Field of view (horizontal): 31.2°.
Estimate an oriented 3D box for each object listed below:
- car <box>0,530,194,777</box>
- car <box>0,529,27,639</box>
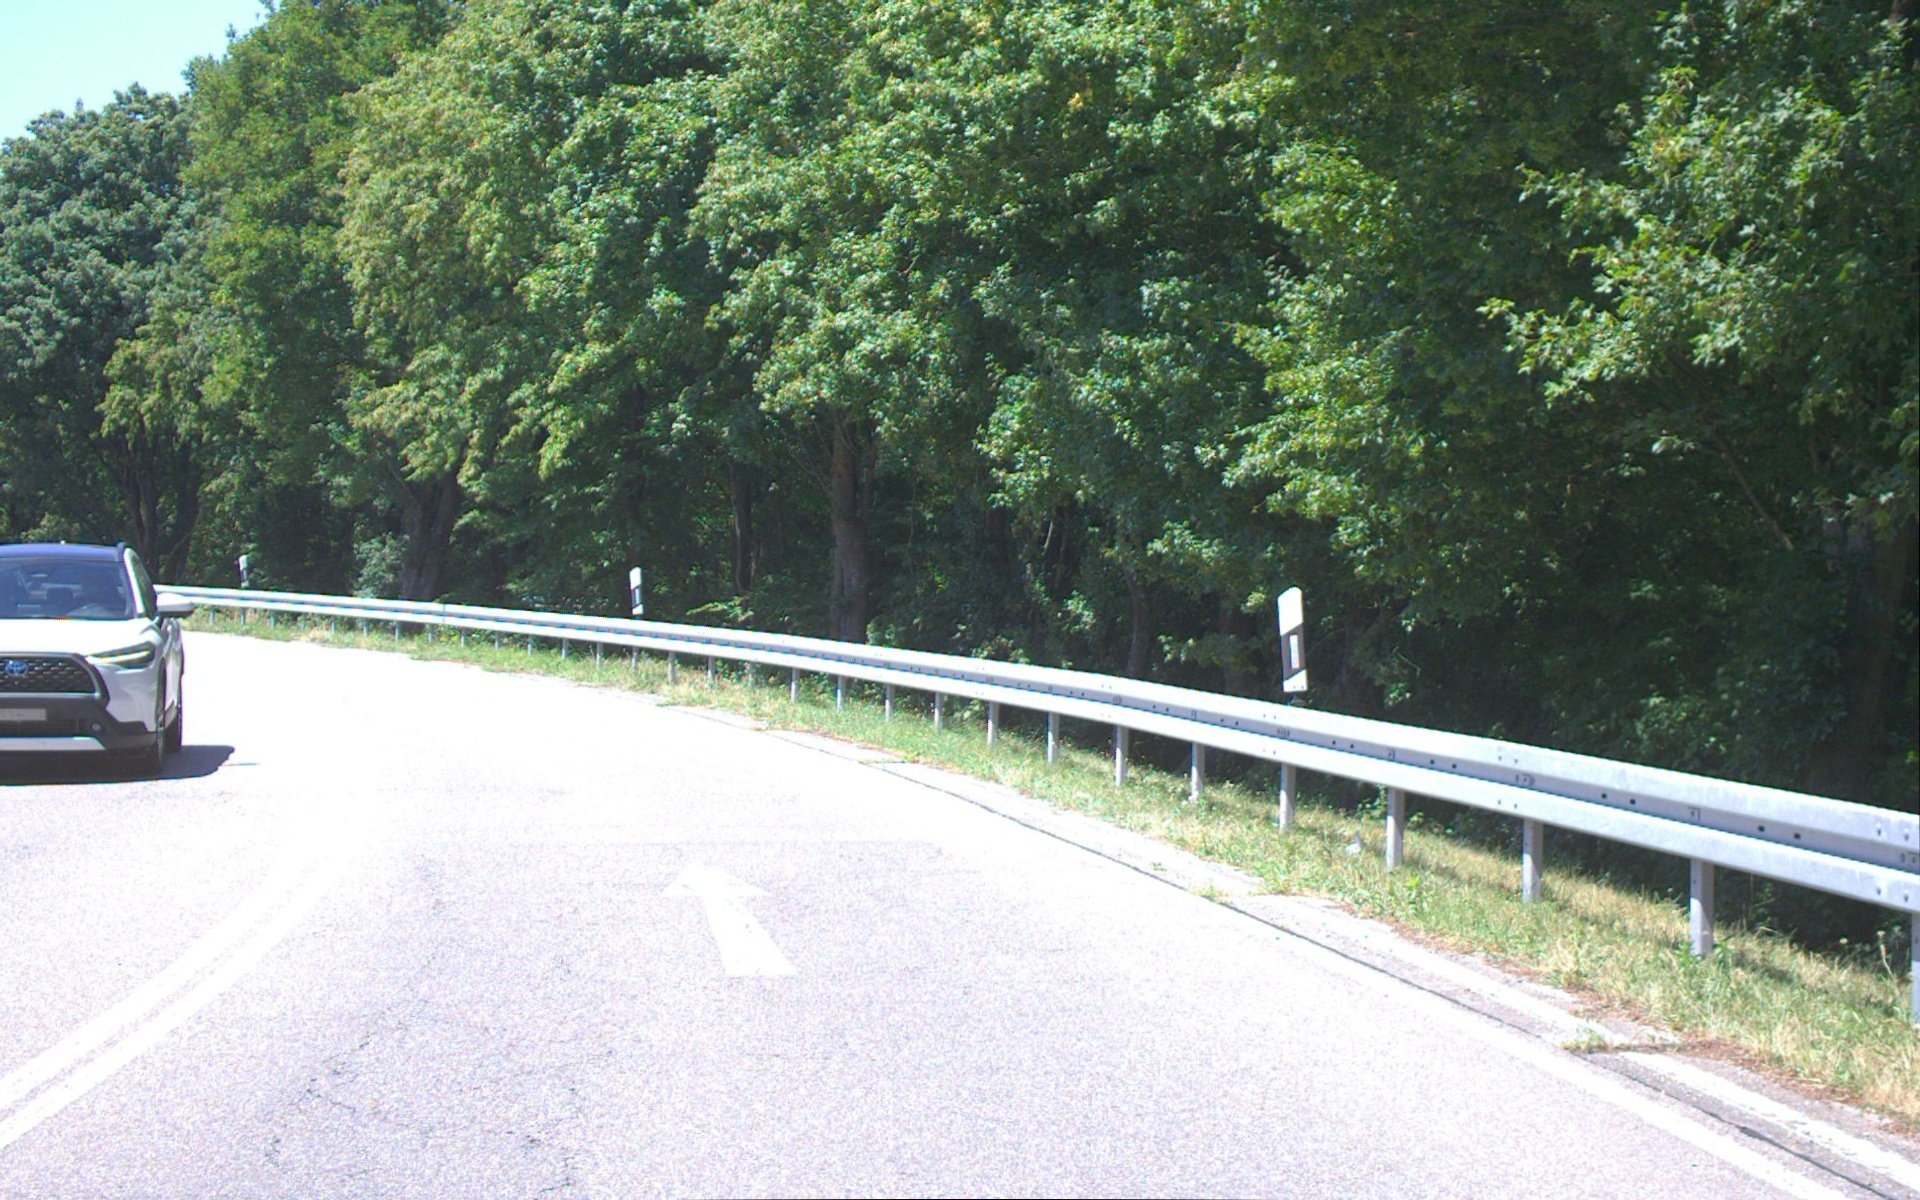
[{"bbox_3d":[-6.554,0.370,24.670,1.822,1.585,4.219,-2,0,-10],"label":"car"},{"bbox_3d":[-14.373,-0.177,49.100,1.734,1.501,4.074,-2,0,-18],"label":"car"}]
